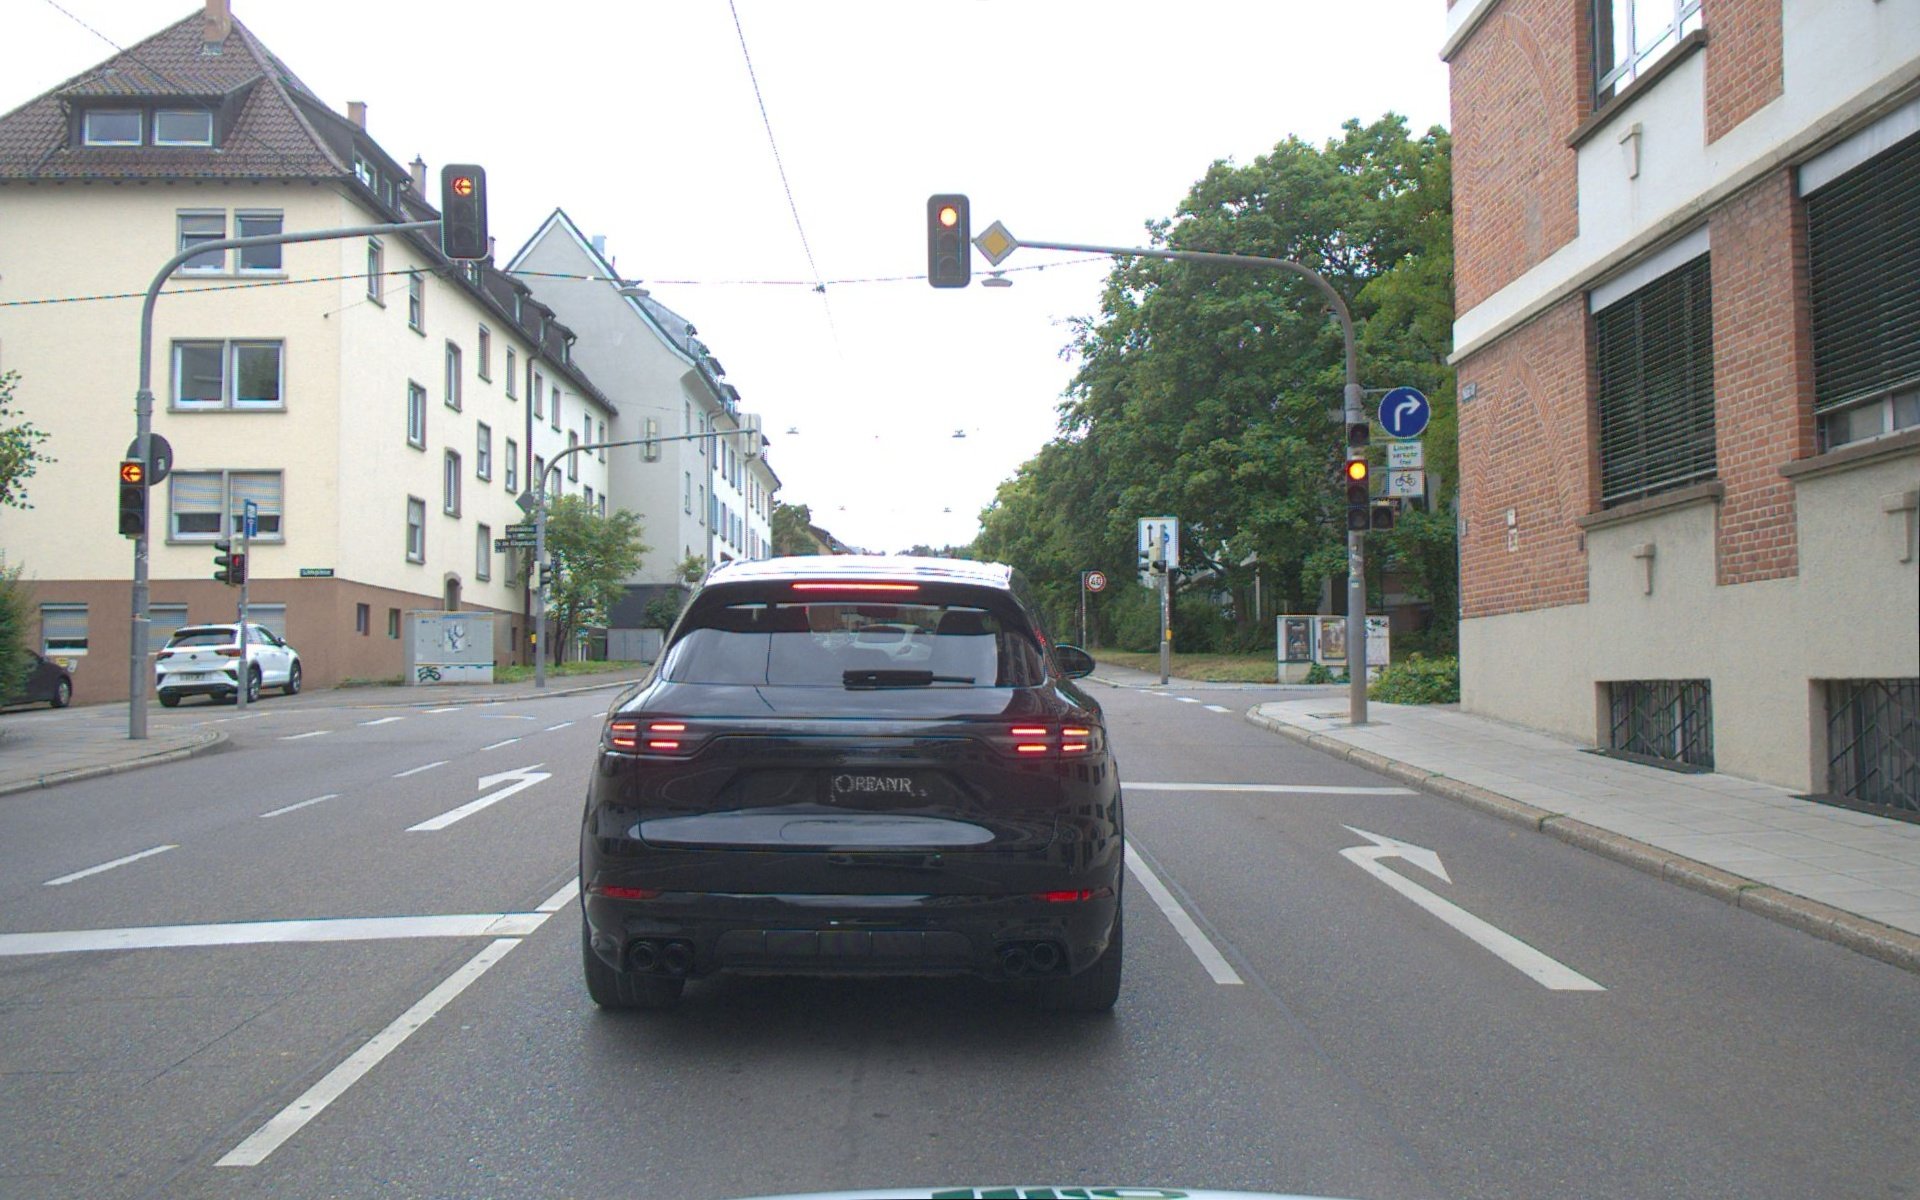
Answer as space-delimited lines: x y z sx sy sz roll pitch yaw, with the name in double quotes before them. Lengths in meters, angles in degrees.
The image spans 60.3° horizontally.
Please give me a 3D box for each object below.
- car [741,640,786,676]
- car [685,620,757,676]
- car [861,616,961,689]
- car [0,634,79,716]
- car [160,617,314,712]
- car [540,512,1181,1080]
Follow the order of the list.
"car" -8.209 2.419 69.232 1.637 1.386 3.997 0 0 -4
"car" -7.404 1.458 51.549 1.630 1.545 3.739 -4 0 0
"car" -1.091 1.183 38.793 1.652 1.579 3.892 1 0 9
"car" -19.756 1.545 33.455 1.636 1.573 4.100 -3 0 -1
"car" -14.640 1.252 33.708 1.638 1.691 3.995 -3 0 -5
"car" -0.330 0.616 7.116 1.953 1.726 3.999 1 0 -1
